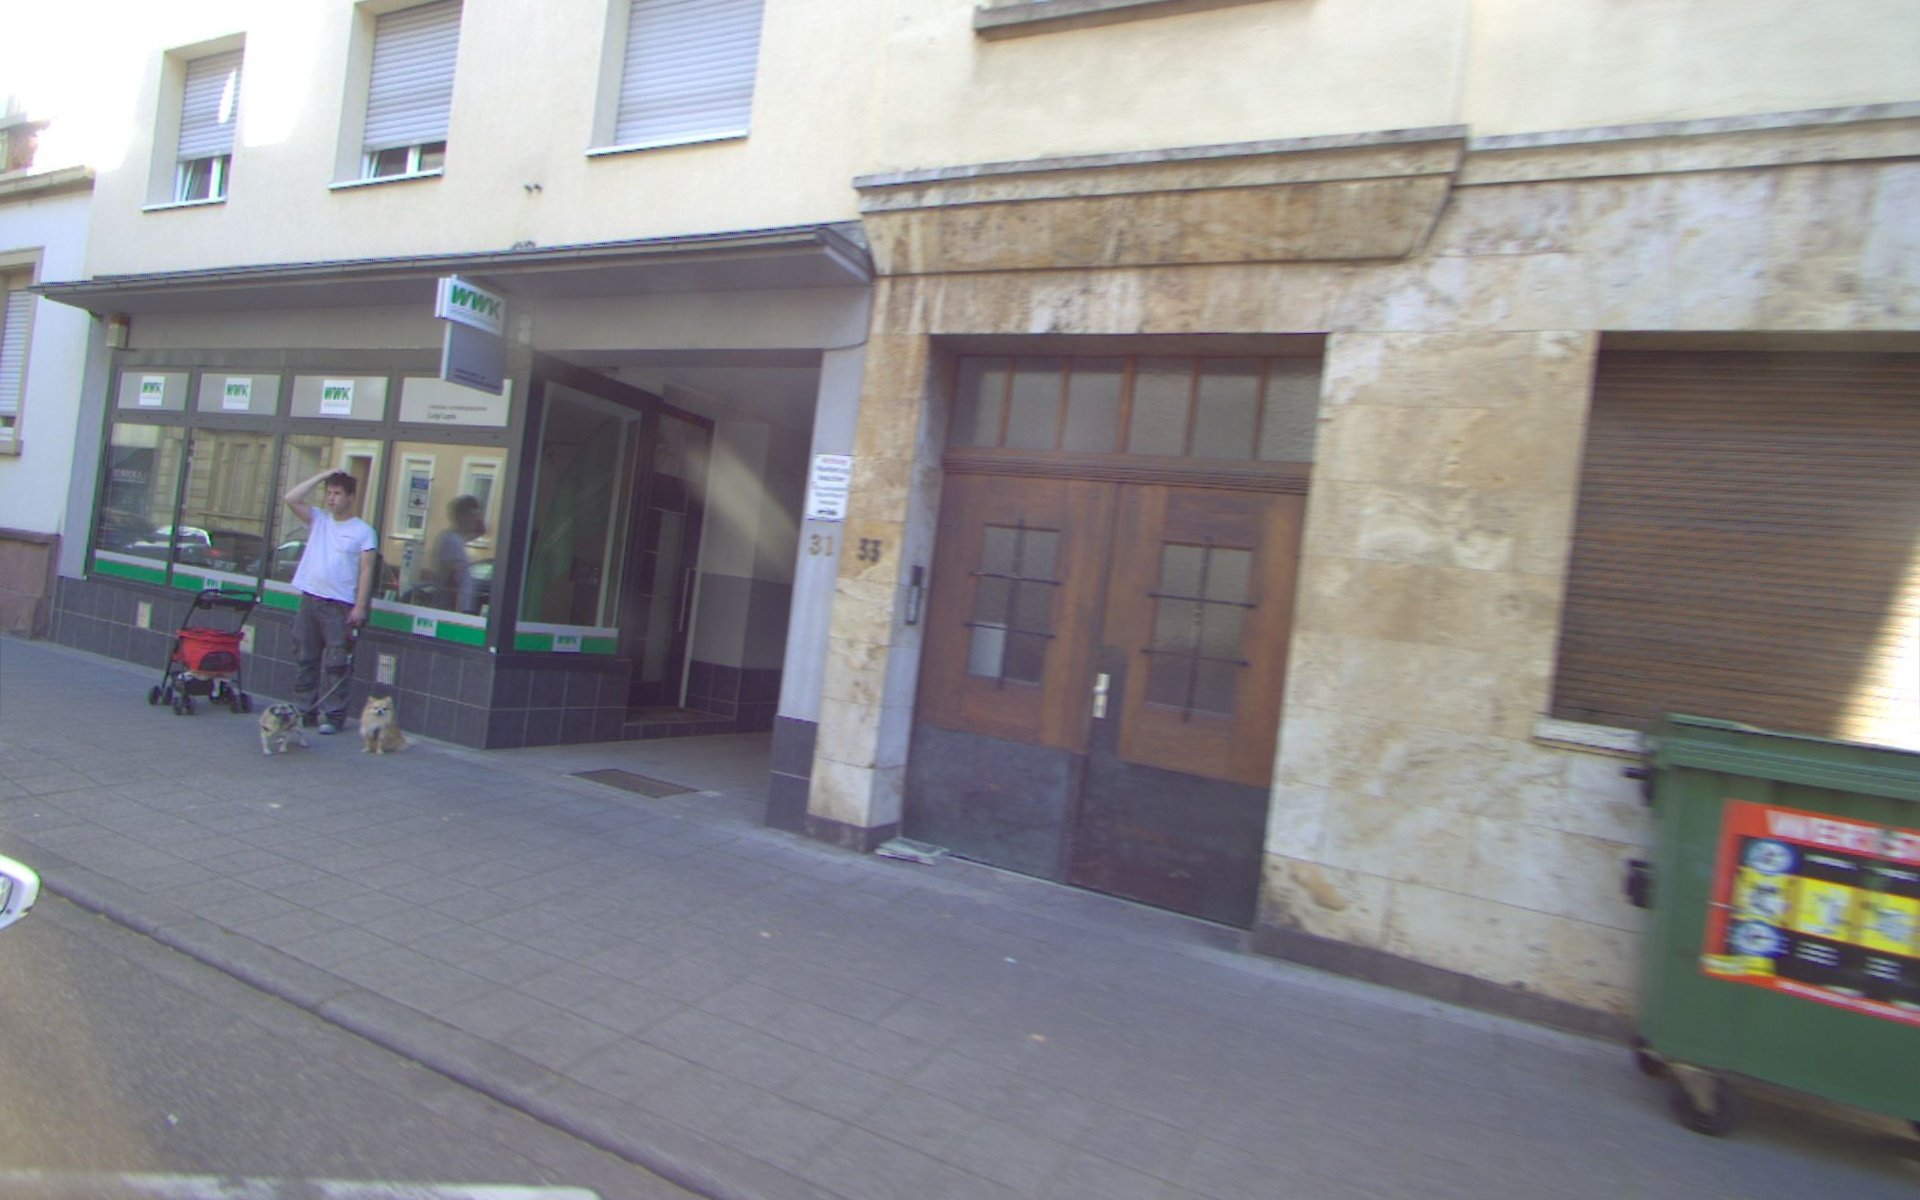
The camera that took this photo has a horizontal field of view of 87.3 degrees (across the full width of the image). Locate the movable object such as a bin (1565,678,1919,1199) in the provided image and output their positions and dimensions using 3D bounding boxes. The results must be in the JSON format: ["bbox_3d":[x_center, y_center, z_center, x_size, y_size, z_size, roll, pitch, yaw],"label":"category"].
[{"bbox_3d":[2.902,1.086,3.338,1.348,1.455,0.747,7,2,28],"label":"movable object such as a bin"}]

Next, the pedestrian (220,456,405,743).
[{"bbox_3d":[-4.603,-0.004,7.193,0.734,1.884,0.650,7,2,5],"label":"pedestrian"}]

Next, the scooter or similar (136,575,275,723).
[{"bbox_3d":[-5.587,0.356,7.443,0.854,0.956,0.491,8,1,33],"label":"scooter or similar"}]
